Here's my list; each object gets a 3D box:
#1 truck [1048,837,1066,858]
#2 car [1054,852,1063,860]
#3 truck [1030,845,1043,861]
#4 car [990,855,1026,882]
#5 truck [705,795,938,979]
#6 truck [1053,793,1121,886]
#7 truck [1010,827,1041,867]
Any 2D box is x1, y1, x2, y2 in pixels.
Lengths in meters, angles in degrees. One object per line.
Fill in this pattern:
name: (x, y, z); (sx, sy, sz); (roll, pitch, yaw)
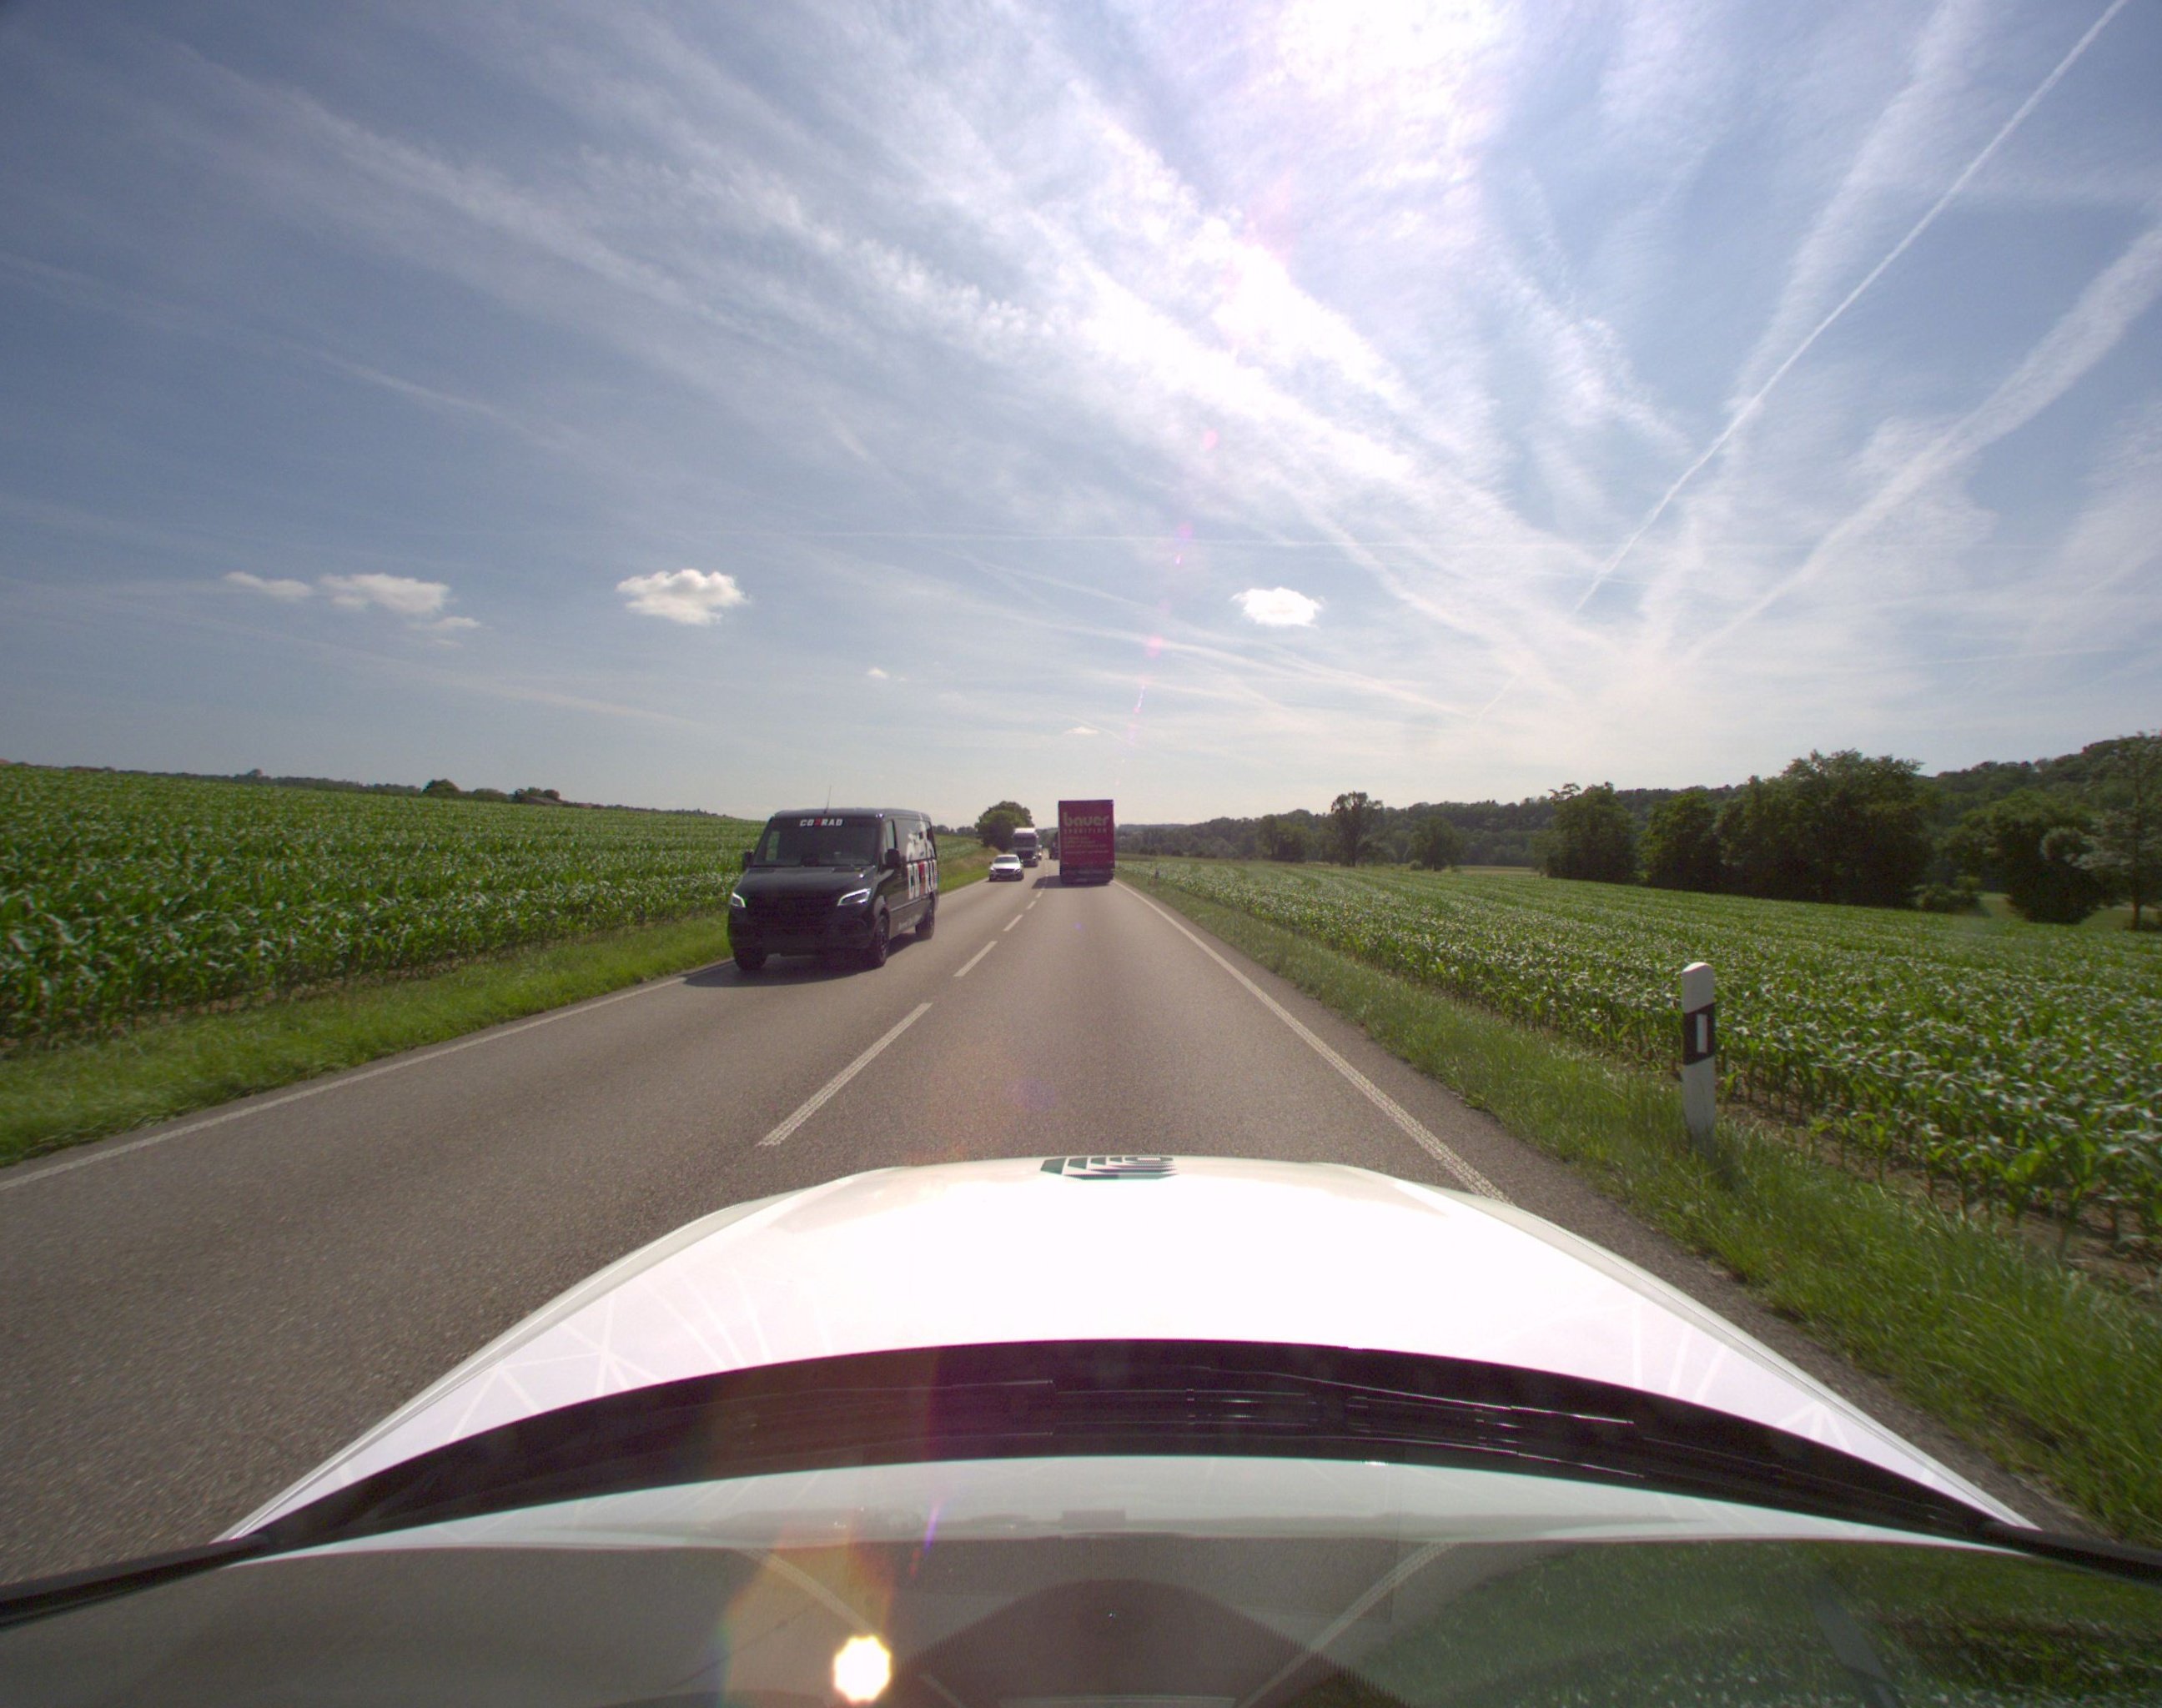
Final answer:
truck: (-5.135, -1.290, 174.182); (3.630, 4.292, 11.979); (-1, -1, -1)
car: (-4.061, 0.331, 145.595); (1.576, 1.501, 3.875); (-1, 0, 0)
truck: (-7.714, -0.217, 142.404); (2.203, 2.672, 6.410); (-1, 0, -3)
car: (-4.131, 0.777, 46.419); (1.723, 1.440, 4.175); (-1, 0, -1)
truck: (-3.757, 0.417, 12.960); (2.003, 2.320, 5.191); (-1, 0, 0)
truck: (0.216, -0.633, 41.801); (3.085, 4.263, 8.310); (-1, -1, -1)
truck: (-6.033, -0.727, 90.102); (2.820, 3.992, 16.518); (-2, 0, -2)
